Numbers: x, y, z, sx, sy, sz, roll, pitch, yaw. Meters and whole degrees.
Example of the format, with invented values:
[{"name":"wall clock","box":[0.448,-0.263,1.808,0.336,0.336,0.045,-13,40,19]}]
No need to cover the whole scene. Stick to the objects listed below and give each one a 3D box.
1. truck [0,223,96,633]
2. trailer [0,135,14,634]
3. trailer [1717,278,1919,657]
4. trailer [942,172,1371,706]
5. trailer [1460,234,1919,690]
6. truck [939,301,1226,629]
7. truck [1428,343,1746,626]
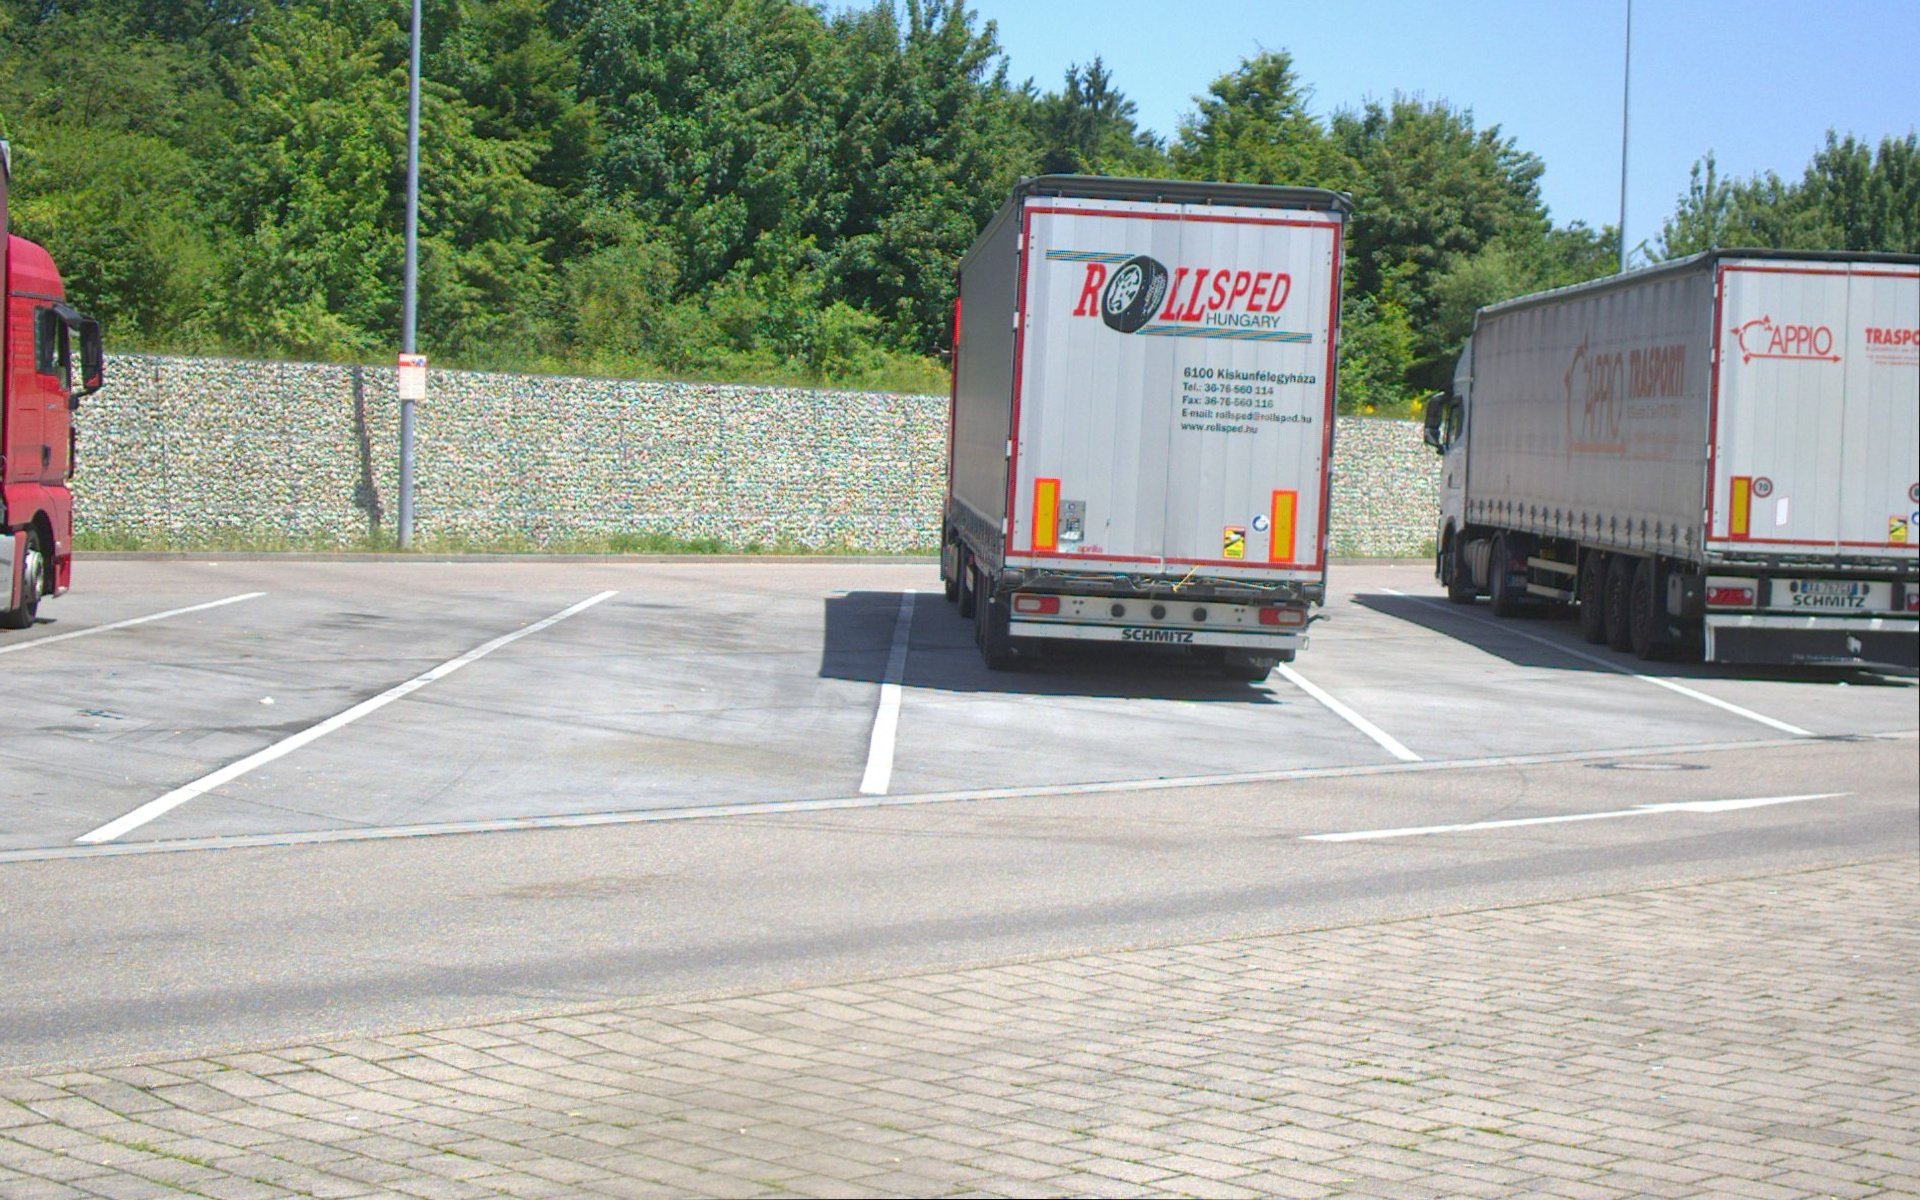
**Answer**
[{"name":"truck","box":[-9.249,-1.453,28.168,2.812,3.351,5.975,2,3,-1]},{"name":"trailer","box":[-9.161,-1.463,21.349,2.821,4.057,13.765,2,3,-1]},{"name":"trailer","box":[11.787,-1.497,39.358,2.858,4.095,13.765,2,3,-1]},{"name":"trailer","box":[1.461,-1.563,33.091,2.858,3.958,13.765,2,3,-1]},{"name":"trailer","box":[8.190,-1.582,38.345,2.858,4.095,13.765,2,3,-1]},{"name":"truck","box":[1.277,-1.567,39.292,2.865,3.351,5.975,2,3,-1]},{"name":"truck","box":[8.088,-1.562,45.111,2.865,3.351,5.975,2,3,-1]}]
